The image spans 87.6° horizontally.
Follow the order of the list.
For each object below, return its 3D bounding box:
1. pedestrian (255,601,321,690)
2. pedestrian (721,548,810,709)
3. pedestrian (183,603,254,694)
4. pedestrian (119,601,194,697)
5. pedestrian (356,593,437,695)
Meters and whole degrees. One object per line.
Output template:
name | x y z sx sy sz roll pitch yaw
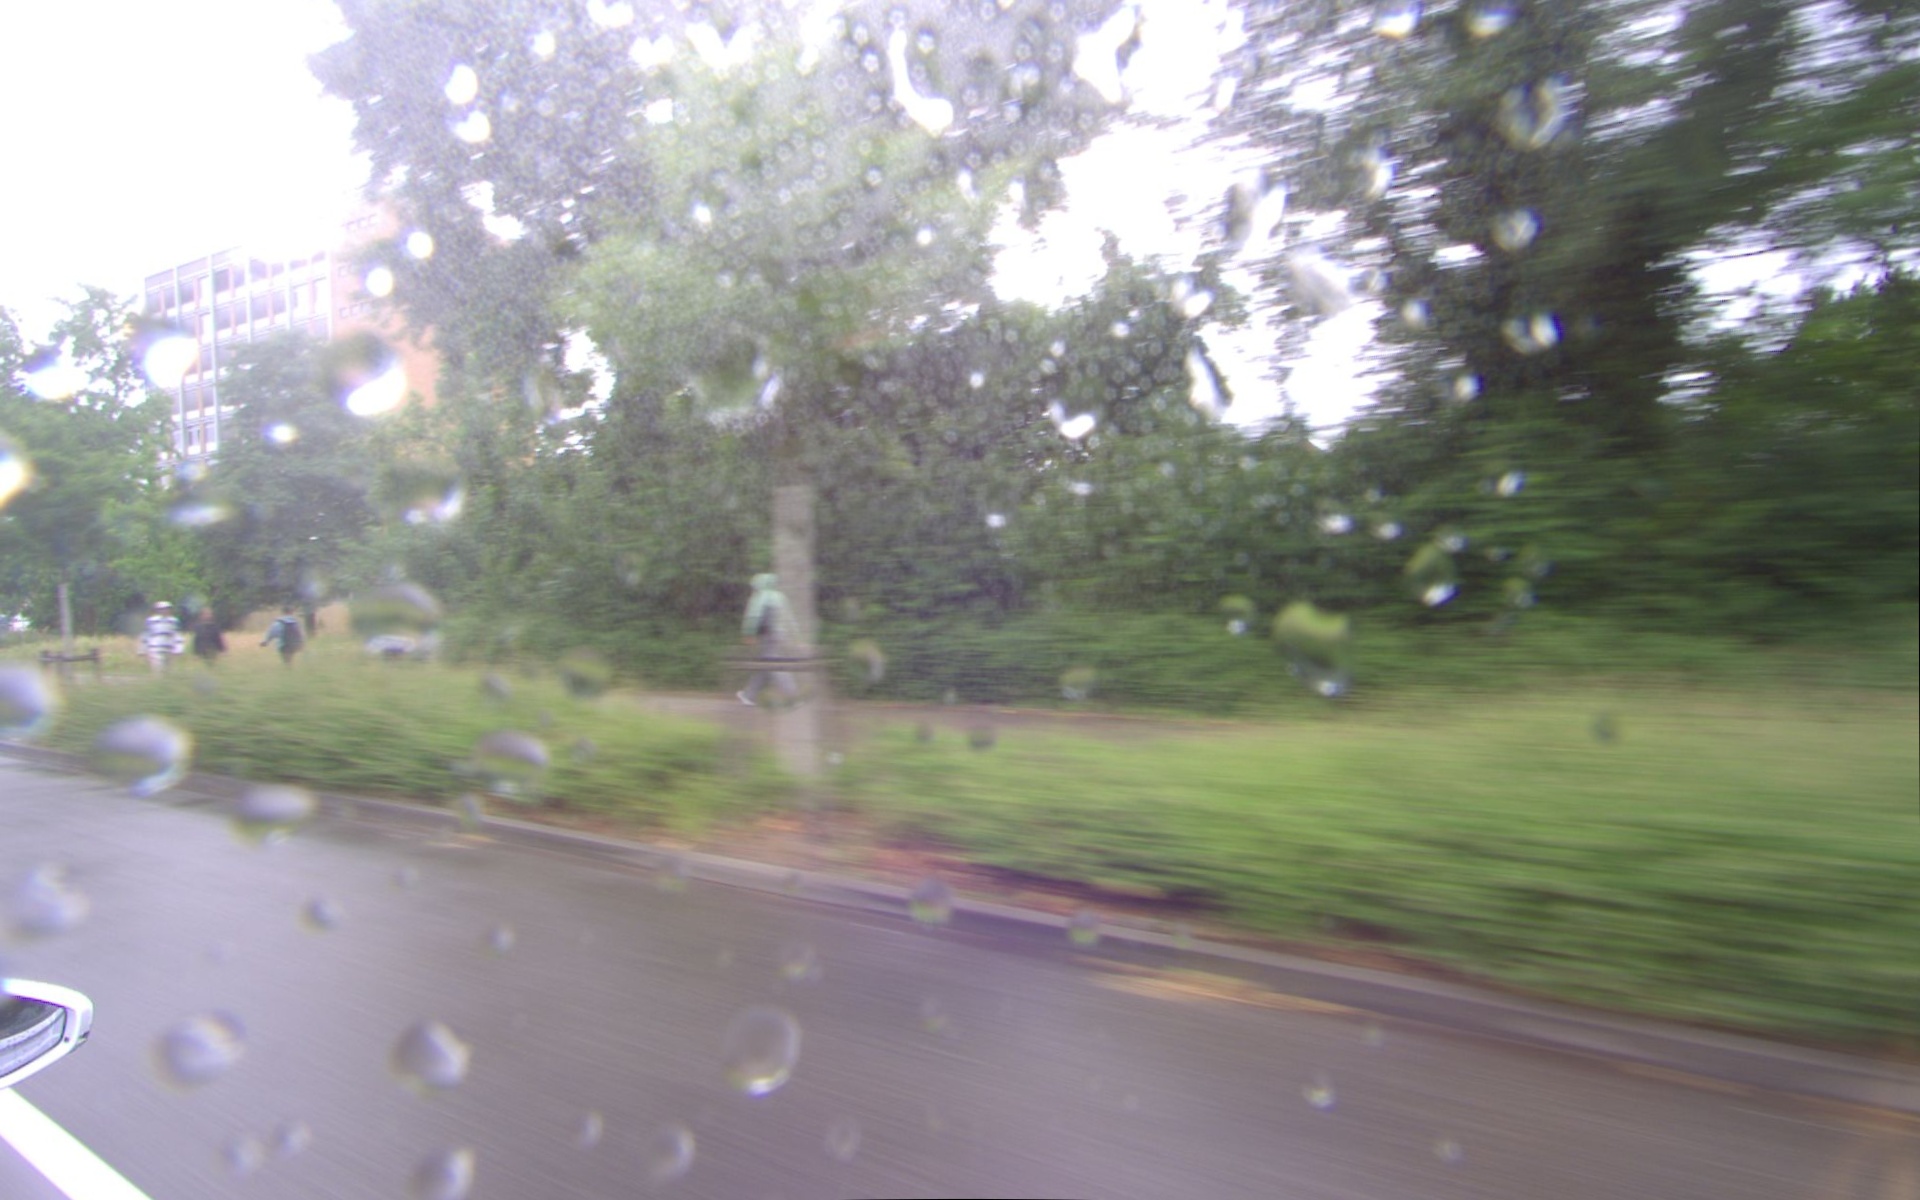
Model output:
pedestrian | -14.193 0.937 21.153 0.818 1.821 0.929 0 1 38
pedestrian | -2.571 0.367 13.241 0.818 2.041 0.787 0 1 38
pedestrian | -14.688 0.940 19.836 0.817 1.727 0.930 3 1 36
pedestrian | -15.357 0.910 19.133 0.817 1.744 0.930 3 1 36
pedestrian | -10.198 0.766 18.140 1.032 1.771 0.929 0 1 38
